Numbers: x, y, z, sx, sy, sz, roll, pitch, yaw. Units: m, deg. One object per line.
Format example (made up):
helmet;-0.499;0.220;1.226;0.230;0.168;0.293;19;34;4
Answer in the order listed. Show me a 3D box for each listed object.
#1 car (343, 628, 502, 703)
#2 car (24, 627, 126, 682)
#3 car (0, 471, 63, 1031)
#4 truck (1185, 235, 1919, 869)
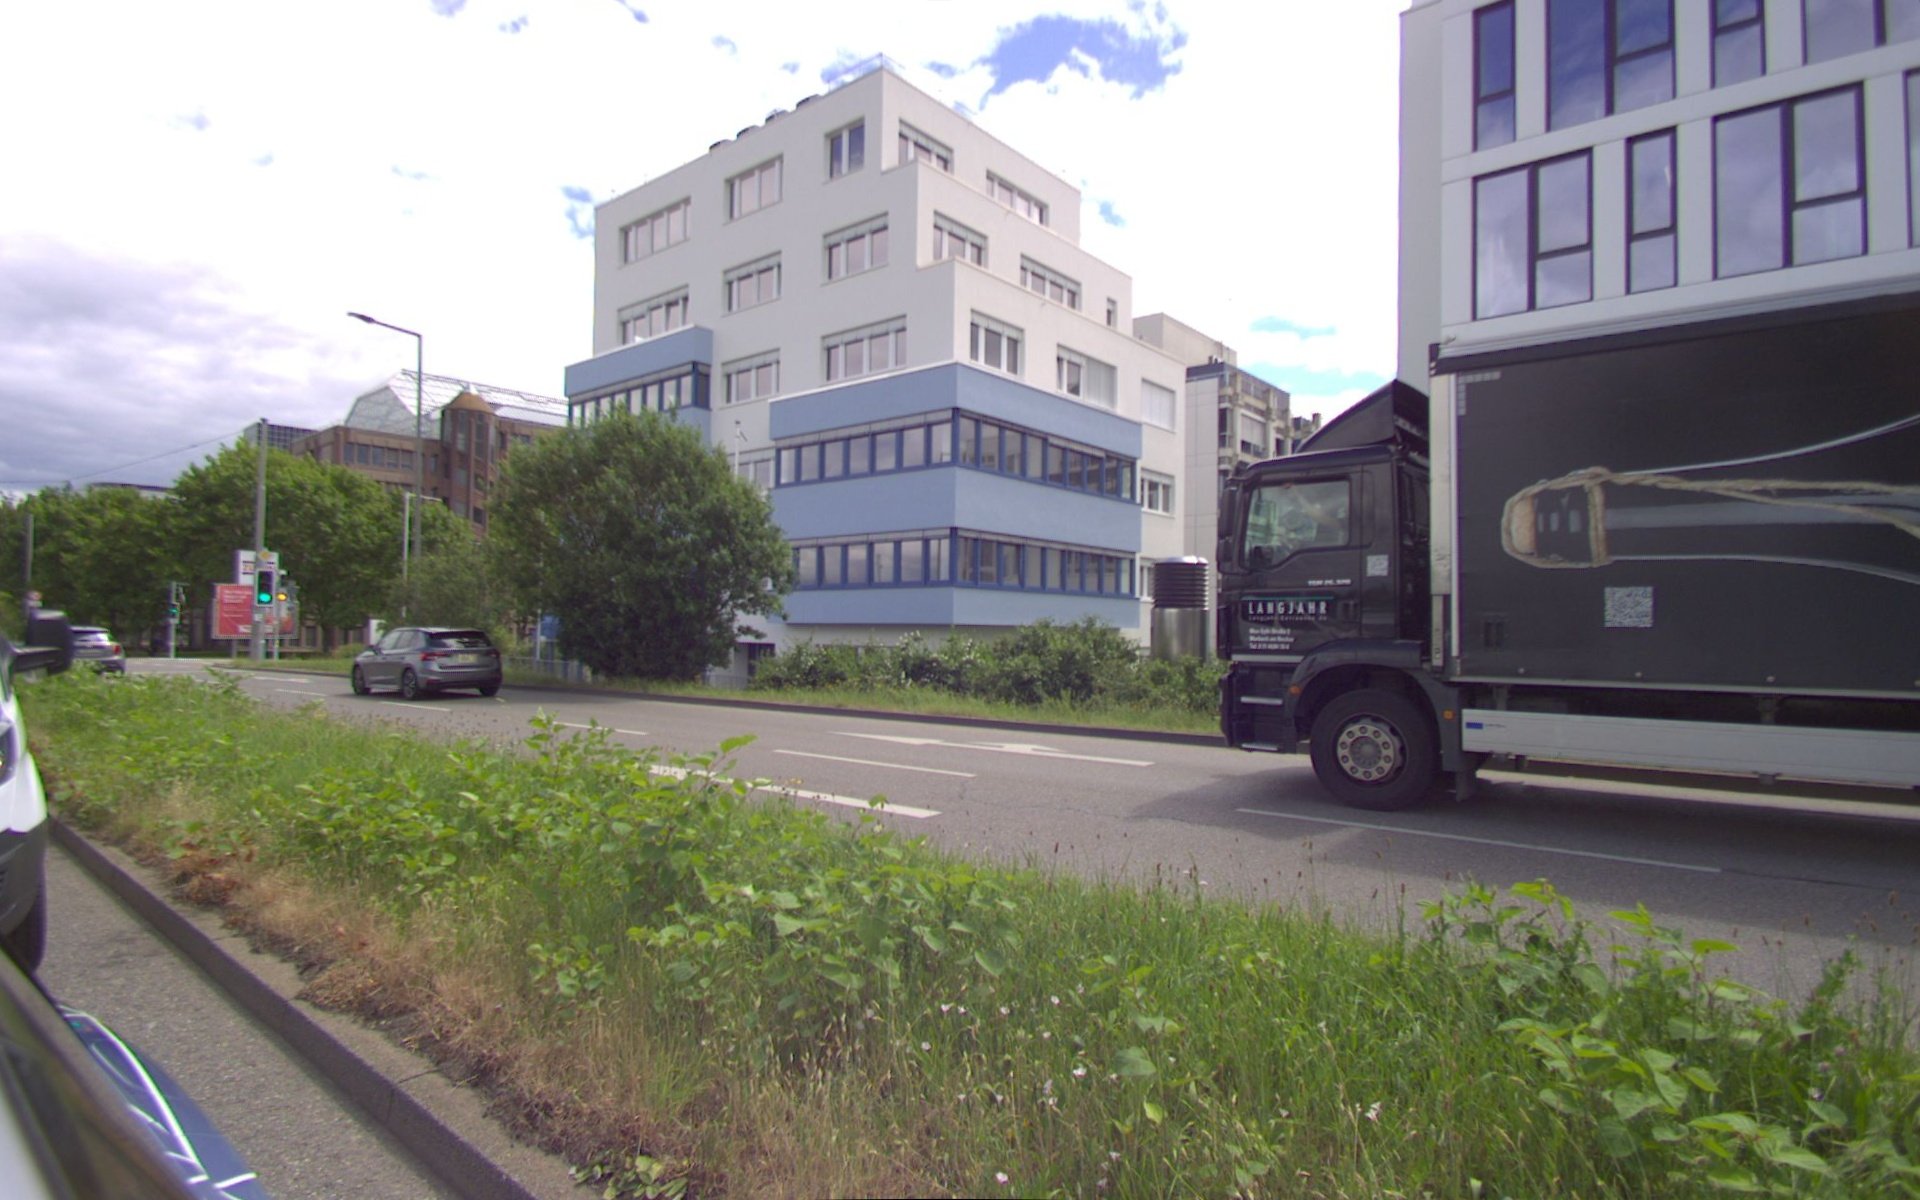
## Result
car;-11.098;1.293;20.811;3.775;1.393;1.538;-2;-2;39
car;-24.878;1.471;28.412;3.633;1.441;1.671;-1;-2;41
car;-5.791;0.574;4.610;5.052;1.965;1.942;-2;-1;41
truck;6.543;-0.255;6.698;9.521;3.545;3.134;-2;-2;41
